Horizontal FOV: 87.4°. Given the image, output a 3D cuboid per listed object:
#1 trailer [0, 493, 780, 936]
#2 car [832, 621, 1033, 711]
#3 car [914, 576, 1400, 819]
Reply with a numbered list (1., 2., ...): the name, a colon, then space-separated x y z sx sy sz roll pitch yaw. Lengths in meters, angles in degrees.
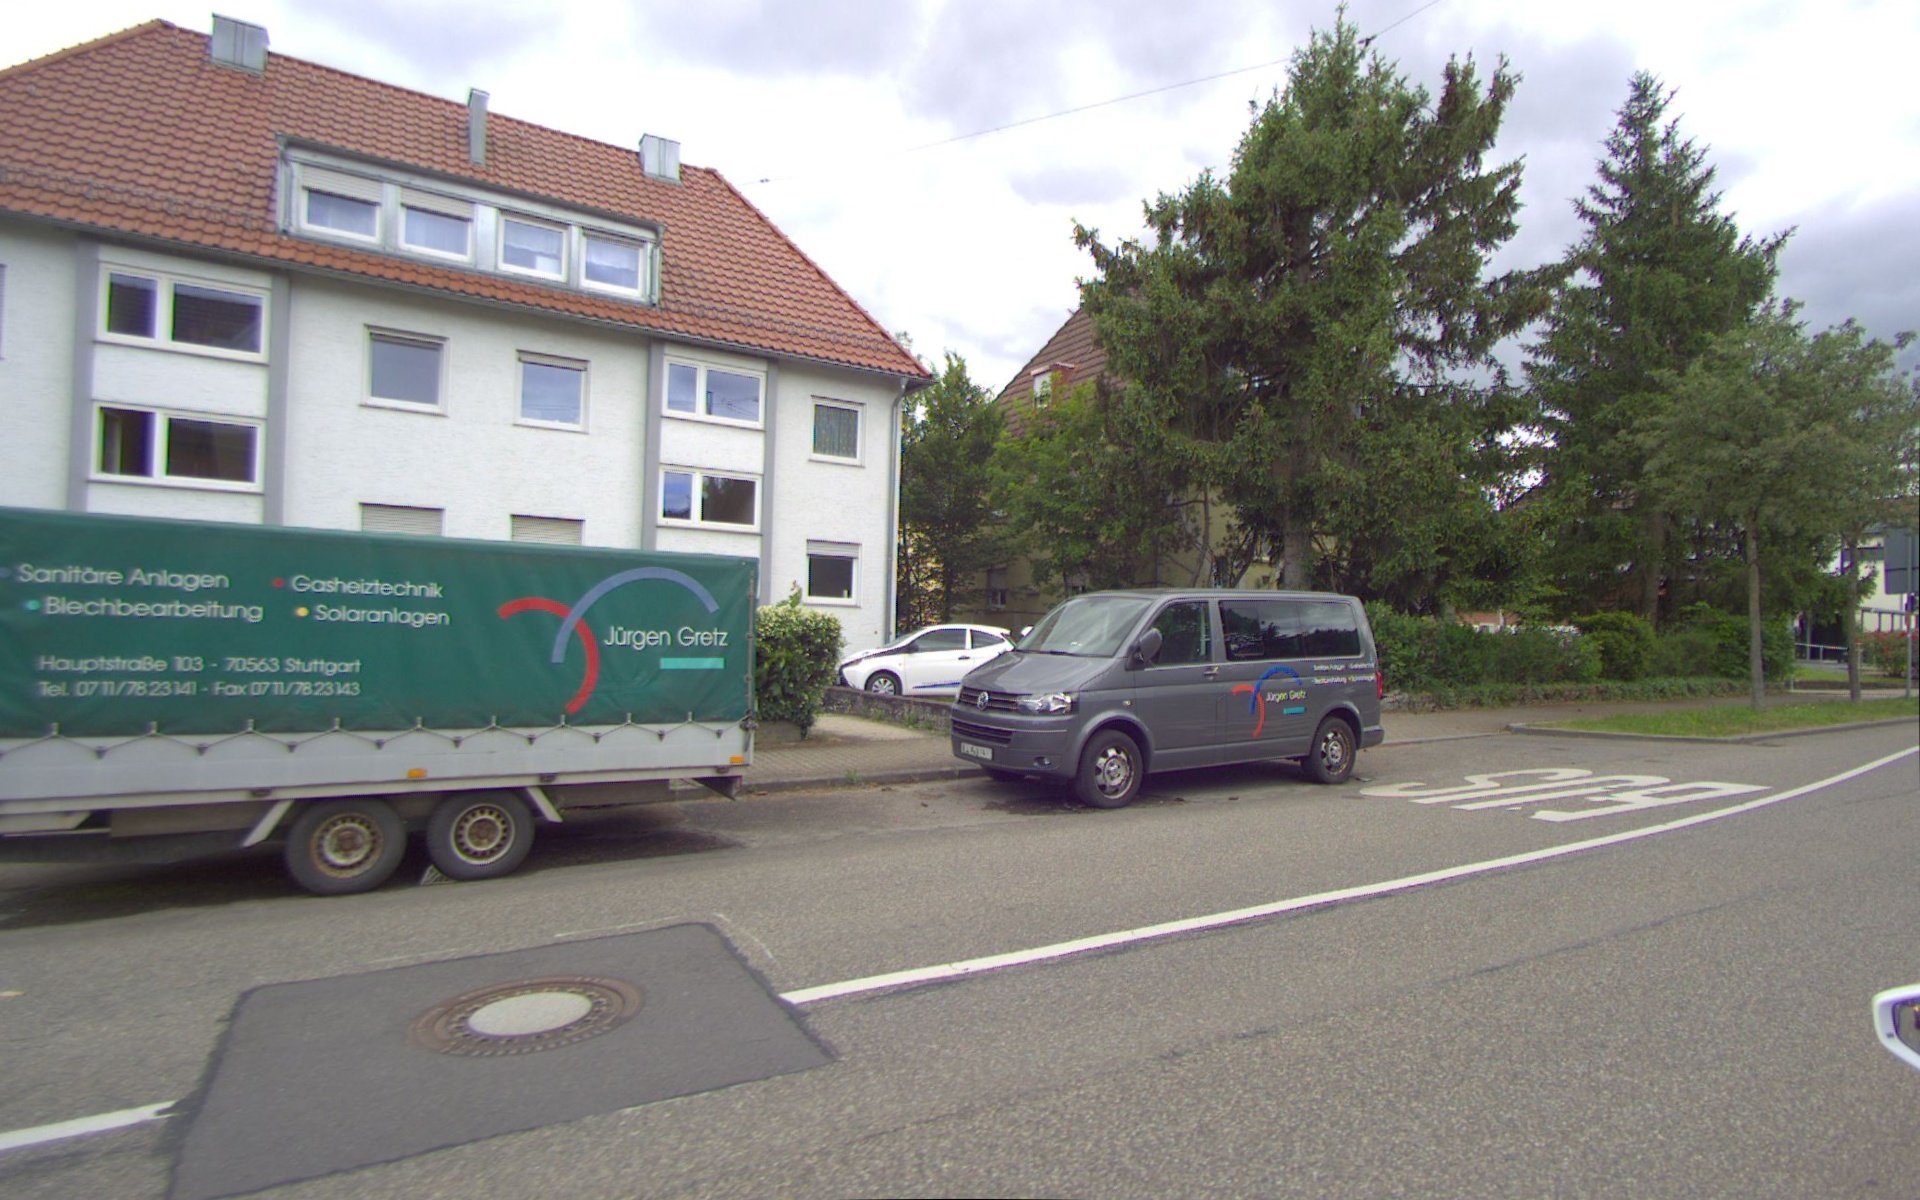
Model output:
1. trailer: -3.652 0.608 6.647 4.376 2.116 2.143 2 -2 -32
2. car: -0.533 1.167 18.241 3.369 1.505 1.626 1 -2 -15
3. car: 2.124 0.878 10.300 4.842 1.975 1.983 2 -2 -31
